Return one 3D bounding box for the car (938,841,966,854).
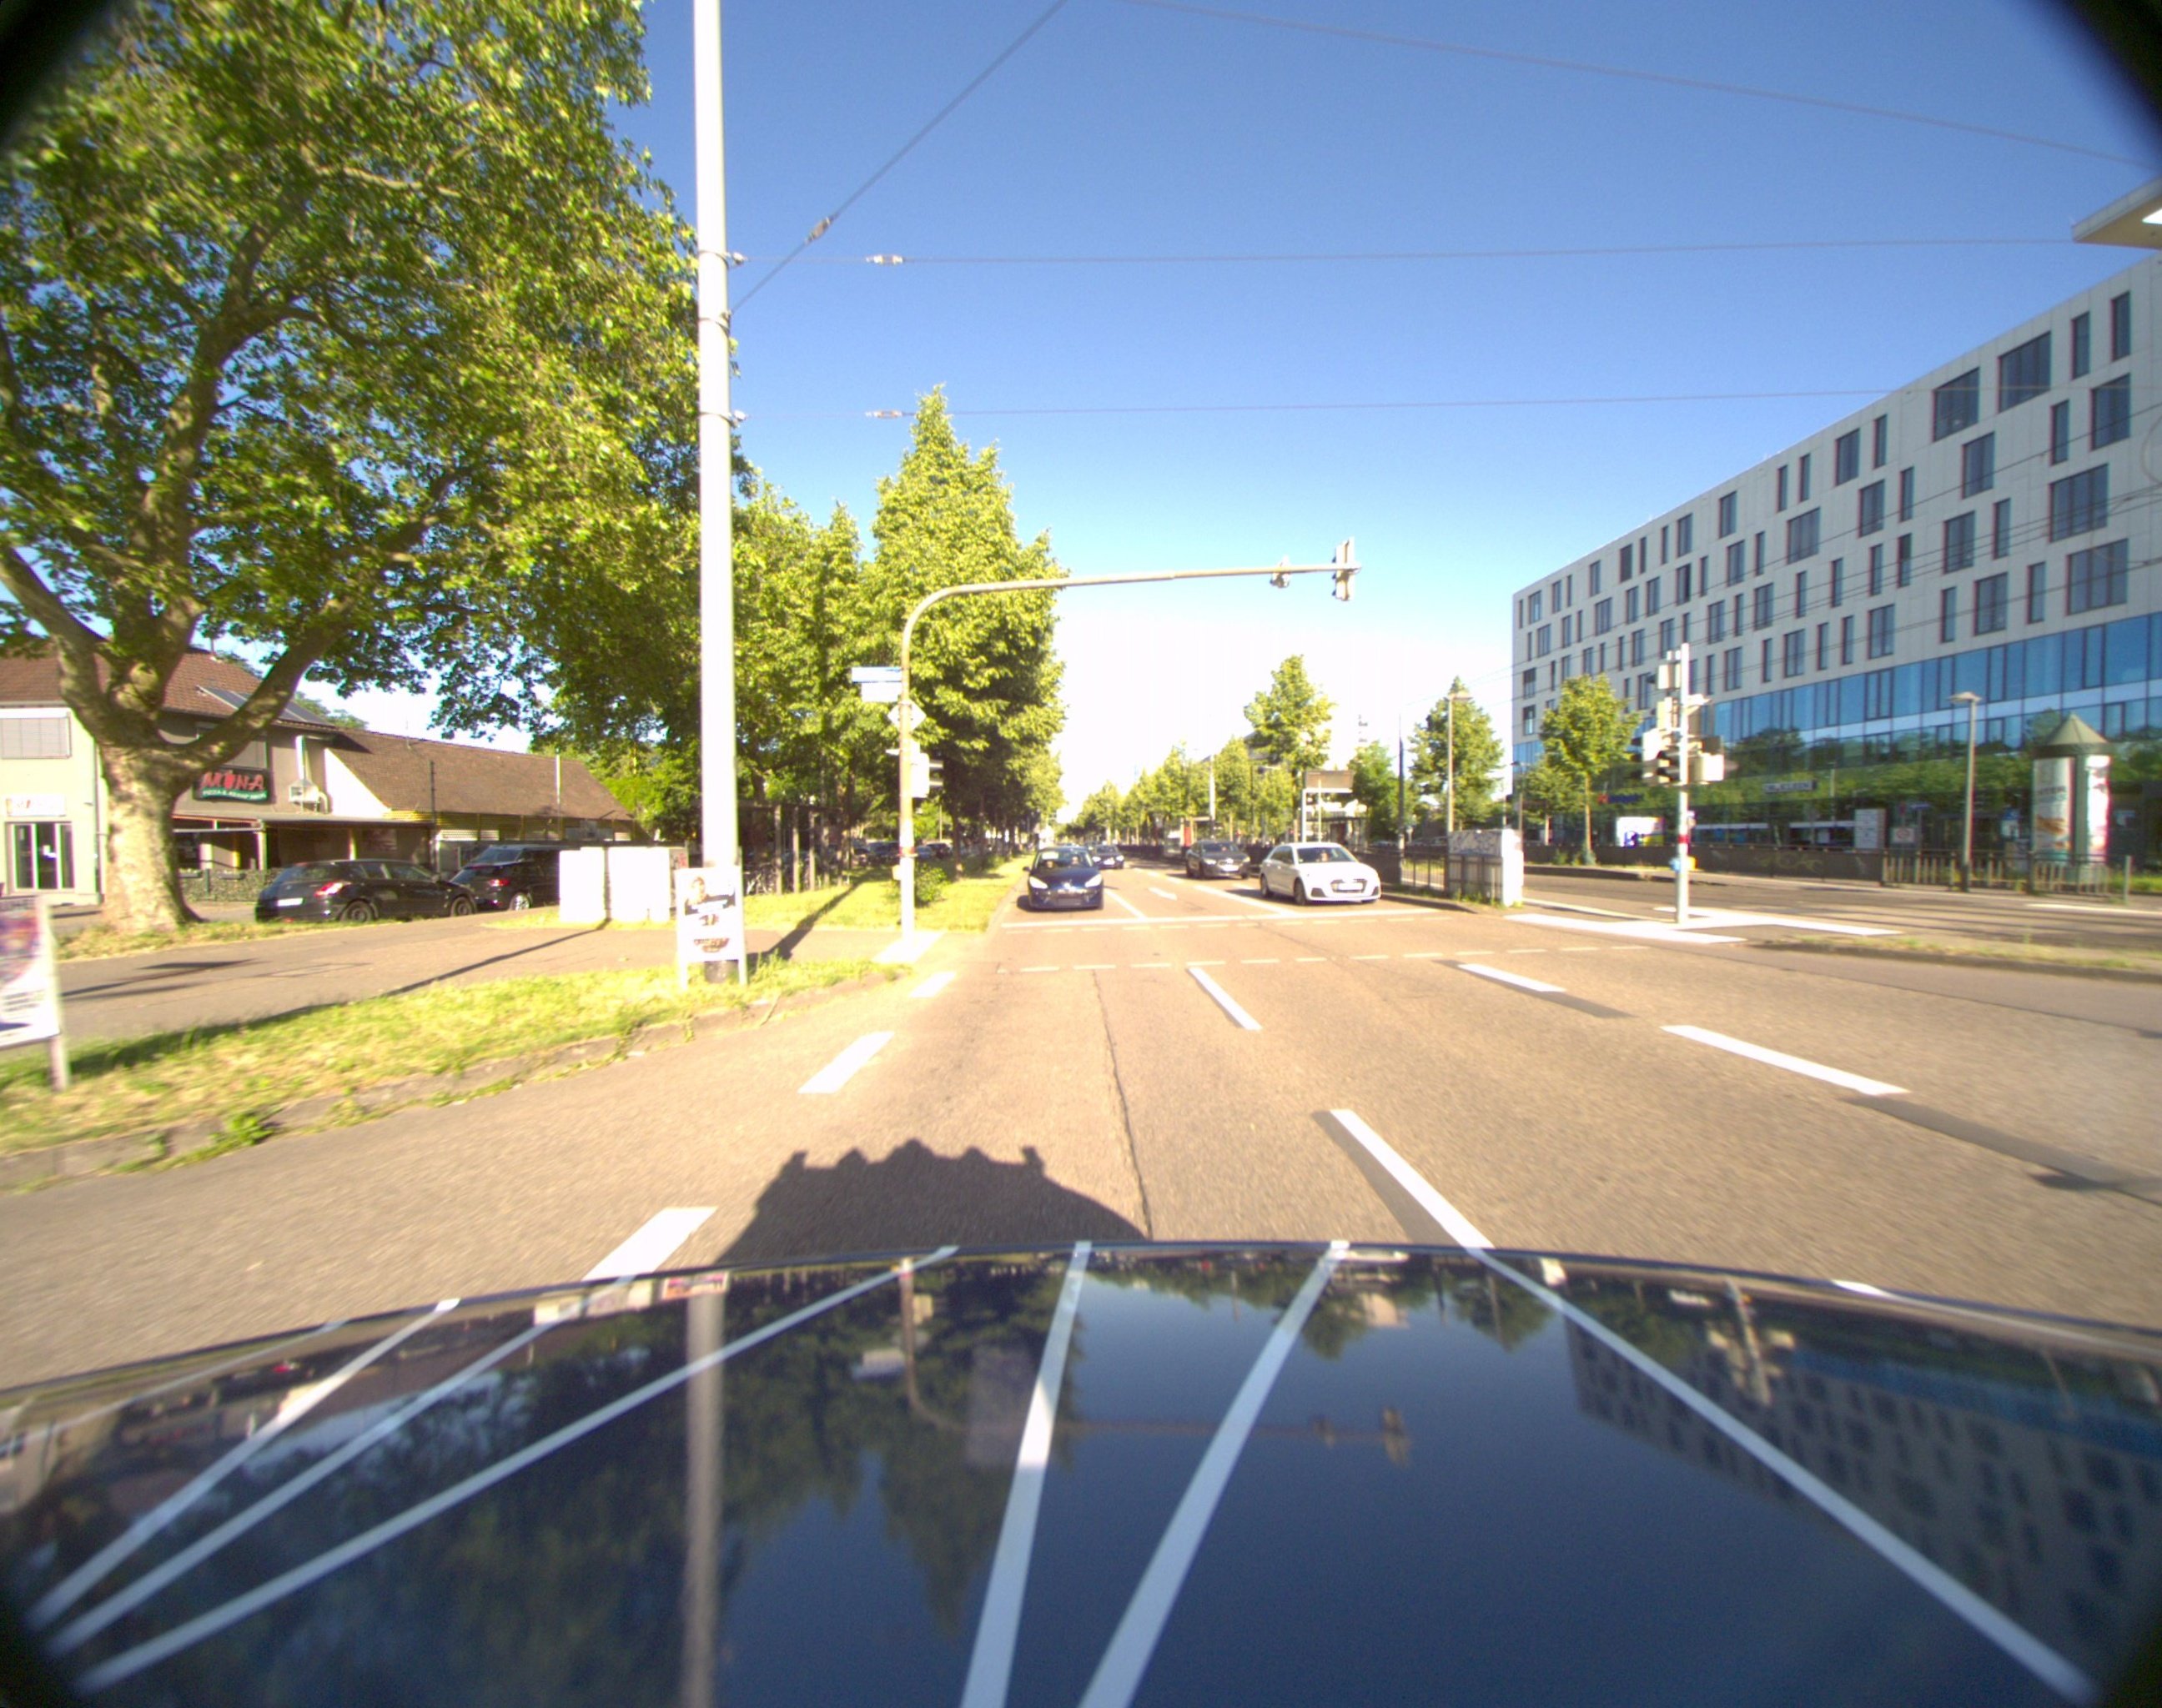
[{"bbox_3d":[-13.305,-0.679,78.518,1.998,1.204,4.113,-1,1,3],"label":"car"}]

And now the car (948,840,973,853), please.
[{"bbox_3d":[-13.298,-0.811,84.064,1.998,1.308,4.544,-1,1,0],"label":"car"}]

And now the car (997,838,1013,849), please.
[{"bbox_3d":[-11.234,-1.569,112.496,1.999,1.576,3.998,-1,1,-1],"label":"car"}]

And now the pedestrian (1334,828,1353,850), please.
[{"bbox_3d":[18.265,-1.044,52.850,1.068,1.458,0.844,-1,2,3],"label":"pedestrian"}]

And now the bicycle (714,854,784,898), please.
[{"bbox_3d":[-9.270,0.611,21.233,1.699,1.162,0.551,-1,2,7],"label":"bicycle"}]

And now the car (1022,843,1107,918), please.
[{"bbox_3d":[-0.326,0.550,18.986,1.803,1.518,4.604,-2,2,1],"label":"car"}]

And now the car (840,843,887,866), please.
[{"bbox_3d":[-14.198,-0.013,49.839,1.943,1.372,3.912,-1,1,0],"label":"car"}]

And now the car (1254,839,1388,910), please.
[{"bbox_3d":[5.596,0.402,18.259,1.676,1.418,4.003,-2,2,-4],"label":"car"}]

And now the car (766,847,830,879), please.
[{"bbox_3d":[-14.835,0.431,40.036,1.899,1.477,4.048,-1,1,-2],"label":"car"}]

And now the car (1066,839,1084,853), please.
[{"bbox_3d":[-0.685,-0.931,88.745,1.998,1.543,3.999,-1,1,0],"label":"car"}]

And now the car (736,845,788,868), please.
[{"bbox_3d":[-23.044,0.148,55.086,1.999,1.520,4.652,1,1,-3],"label":"car"}]

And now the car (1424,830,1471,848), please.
[{"bbox_3d":[32.052,-1.332,66.498,1.803,1.518,4.341,-2,2,-3],"label":"car"}]

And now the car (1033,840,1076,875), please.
[{"bbox_3d":[-1.256,0.103,37.474,1.803,1.518,4.604,-2,2,1],"label":"car"}]

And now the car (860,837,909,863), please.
[{"bbox_3d":[-14.132,-0.332,54.935,2.037,1.732,5.020,-1,1,2],"label":"car"}]

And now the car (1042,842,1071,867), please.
[{"bbox_3d":[-1.649,-0.002,52.542,1.803,1.518,4.603,-2,2,-1],"label":"car"}]

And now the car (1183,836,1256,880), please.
[{"bbox_3d":[5.313,0.097,29.628,1.803,1.518,4.341,-2,2,-3],"label":"car"}]

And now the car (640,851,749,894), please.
[{"bbox_3d":[-15.227,0.682,30.239,1.898,1.480,4.346,-1,1,2],"label":"car"}]

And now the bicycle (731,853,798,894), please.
[{"bbox_3d":[-9.307,0.571,22.385,1.700,1.162,0.551,-1,2,1],"label":"bicycle"}]

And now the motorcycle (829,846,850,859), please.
[{"bbox_3d":[-22.340,-0.139,70.219,1.744,1.142,0.733,-2,2,-22],"label":"motorcycle"}]

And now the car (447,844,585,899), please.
[{"bbox_3d":[-23.125,0.617,31.399,1.898,2.025,5.069,1,1,0],"label":"car"}]

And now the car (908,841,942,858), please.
[{"bbox_3d":[-13.829,-0.423,67.663,1.998,1.355,4.865,-1,1,1],"label":"car"}]

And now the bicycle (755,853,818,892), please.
[{"bbox_3d":[-9.134,0.562,23.601,1.700,1.162,0.551,-1,2,0],"label":"bicycle"}]

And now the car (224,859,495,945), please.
[{"bbox_3d":[-15.221,0.930,16.417,1.898,1.457,4.036,-1,1,1],"label":"car"}]

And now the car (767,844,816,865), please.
[{"bbox_3d":[-23.009,-0.004,60.613,1.998,1.520,4.653,-1,1,1],"label":"car"}]

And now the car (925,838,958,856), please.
[{"bbox_3d":[-13.385,-0.699,73.046,1.998,1.587,4.654,-1,1,4],"label":"car"}]

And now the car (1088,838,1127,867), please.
[{"bbox_3d":[1.476,-0.142,44.035,1.803,1.518,4.341,-2,2,-3],"label":"car"}]

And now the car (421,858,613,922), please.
[{"bbox_3d":[-15.226,0.894,20.895,1.898,1.403,4.345,-1,1,2],"label":"car"}]

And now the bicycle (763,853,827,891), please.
[{"bbox_3d":[-9.264,0.564,24.649,1.807,1.162,0.551,-1,2,1],"label":"bicycle"}]

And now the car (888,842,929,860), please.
[{"bbox_3d":[-13.747,-0.256,60.749,1.998,1.242,4.654,-1,1,3],"label":"car"}]
